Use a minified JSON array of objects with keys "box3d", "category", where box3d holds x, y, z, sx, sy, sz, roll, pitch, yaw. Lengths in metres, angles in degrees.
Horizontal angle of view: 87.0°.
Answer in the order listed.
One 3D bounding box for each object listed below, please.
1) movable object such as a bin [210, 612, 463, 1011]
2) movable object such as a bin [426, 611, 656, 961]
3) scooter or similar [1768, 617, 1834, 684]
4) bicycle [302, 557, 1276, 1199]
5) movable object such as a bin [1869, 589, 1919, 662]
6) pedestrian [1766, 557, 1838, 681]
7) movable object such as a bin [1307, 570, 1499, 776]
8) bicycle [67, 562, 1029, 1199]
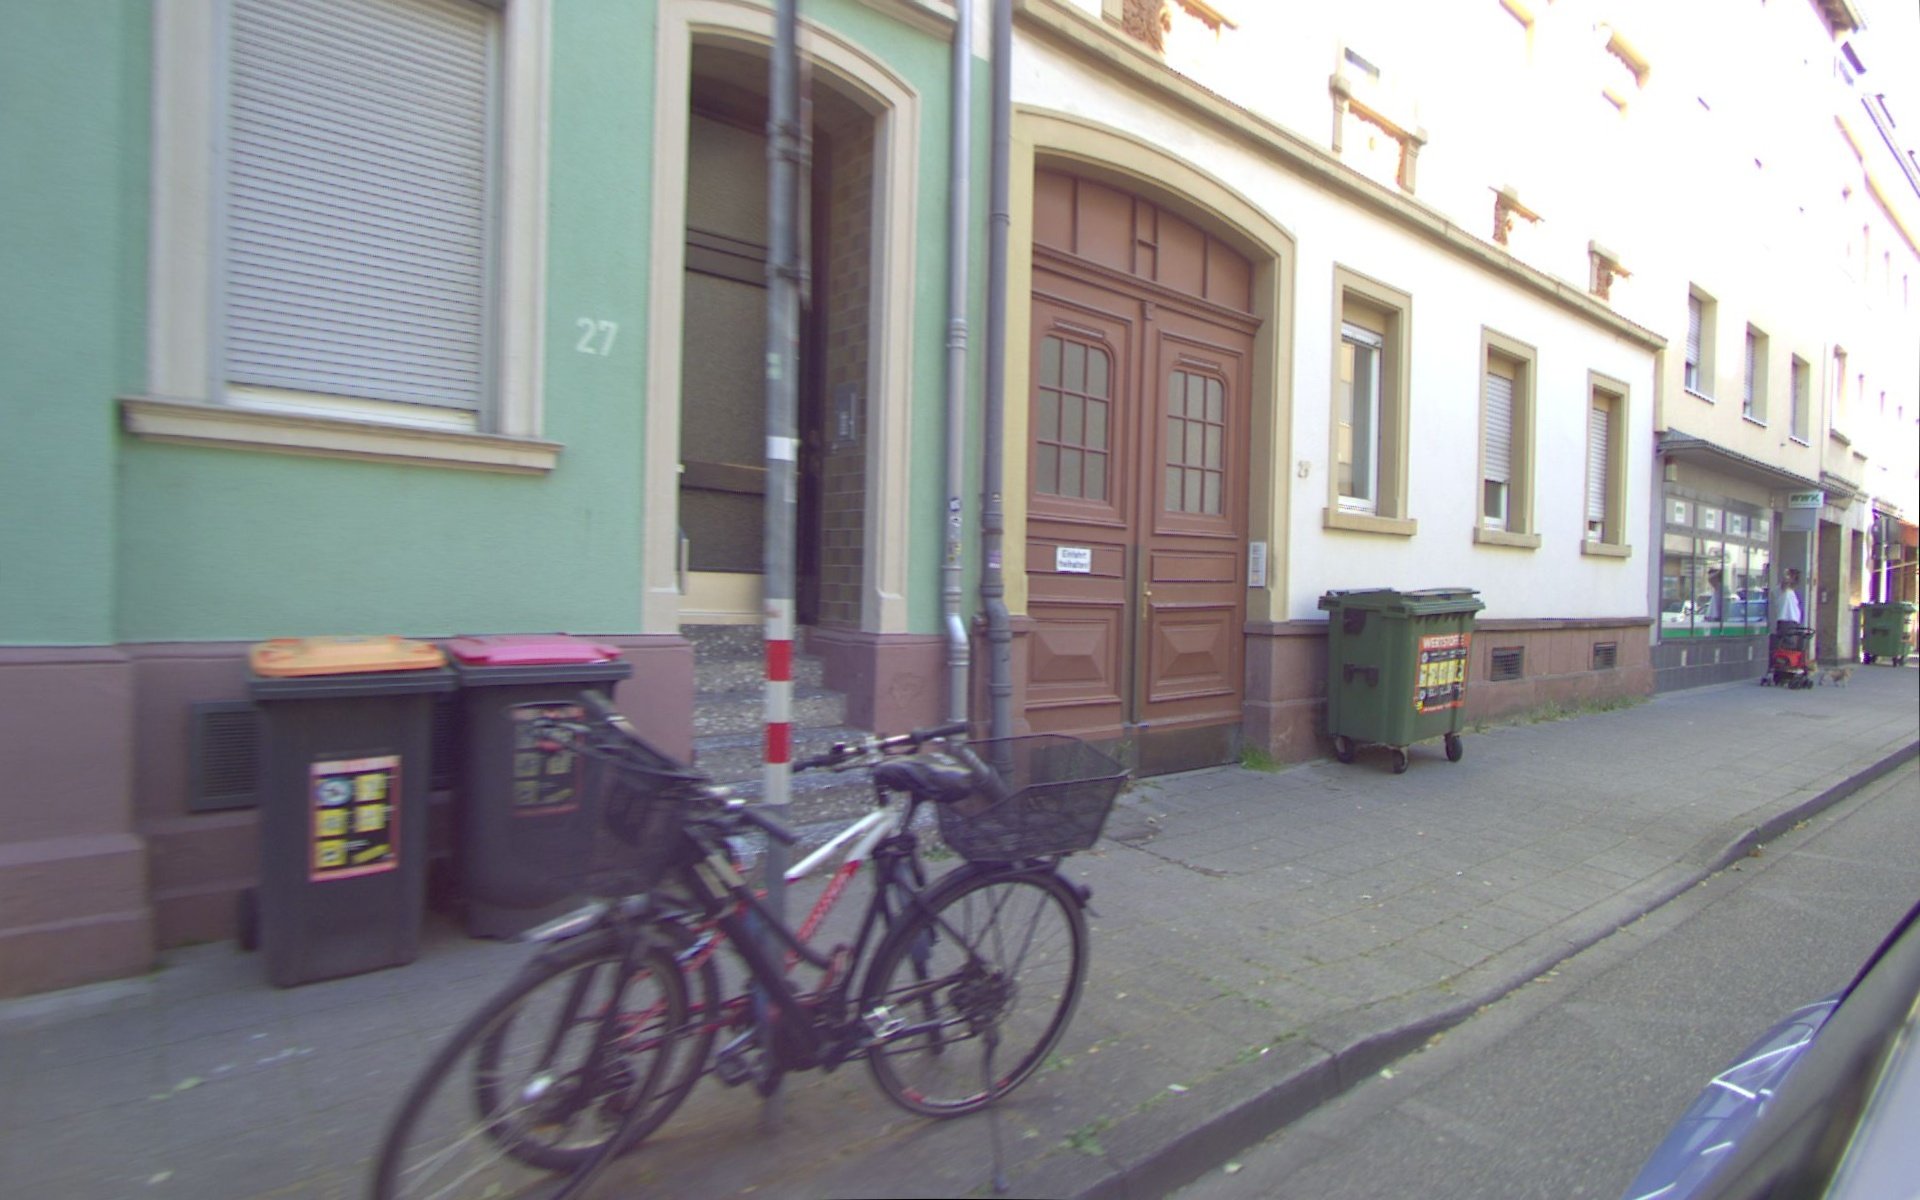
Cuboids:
[{"box3d":[-2.126,0.616,3.431,0.661,1.102,0.815,0,2,-37],"category":"movable object such as a bin"},{"box3d":[-1.602,0.617,3.830,0.630,1.109,0.799,0,2,-36],"category":"movable object such as a bin"},{"box3d":[12.776,0.755,15.380,0.851,0.956,0.492,2,2,-32],"category":"scooter or similar"},{"box3d":[-0.216,0.609,2.341,2.157,1.337,0.577,1,2,-35],"category":"bicycle"},{"box3d":[20.012,0.516,21.467,1.347,1.454,0.749,0,4,-37],"category":"movable object such as a bin"},{"box3d":[13.401,0.283,16.127,0.645,1.882,0.741,4,2,29],"category":"pedestrian"},{"box3d":[3.451,0.499,7.879,1.274,1.406,0.839,-2,5,-40],"category":"movable object such as a bin"},{"box3d":[-0.864,0.584,2.656,2.157,1.286,0.577,0,3,-35],"category":"bicycle"}]
